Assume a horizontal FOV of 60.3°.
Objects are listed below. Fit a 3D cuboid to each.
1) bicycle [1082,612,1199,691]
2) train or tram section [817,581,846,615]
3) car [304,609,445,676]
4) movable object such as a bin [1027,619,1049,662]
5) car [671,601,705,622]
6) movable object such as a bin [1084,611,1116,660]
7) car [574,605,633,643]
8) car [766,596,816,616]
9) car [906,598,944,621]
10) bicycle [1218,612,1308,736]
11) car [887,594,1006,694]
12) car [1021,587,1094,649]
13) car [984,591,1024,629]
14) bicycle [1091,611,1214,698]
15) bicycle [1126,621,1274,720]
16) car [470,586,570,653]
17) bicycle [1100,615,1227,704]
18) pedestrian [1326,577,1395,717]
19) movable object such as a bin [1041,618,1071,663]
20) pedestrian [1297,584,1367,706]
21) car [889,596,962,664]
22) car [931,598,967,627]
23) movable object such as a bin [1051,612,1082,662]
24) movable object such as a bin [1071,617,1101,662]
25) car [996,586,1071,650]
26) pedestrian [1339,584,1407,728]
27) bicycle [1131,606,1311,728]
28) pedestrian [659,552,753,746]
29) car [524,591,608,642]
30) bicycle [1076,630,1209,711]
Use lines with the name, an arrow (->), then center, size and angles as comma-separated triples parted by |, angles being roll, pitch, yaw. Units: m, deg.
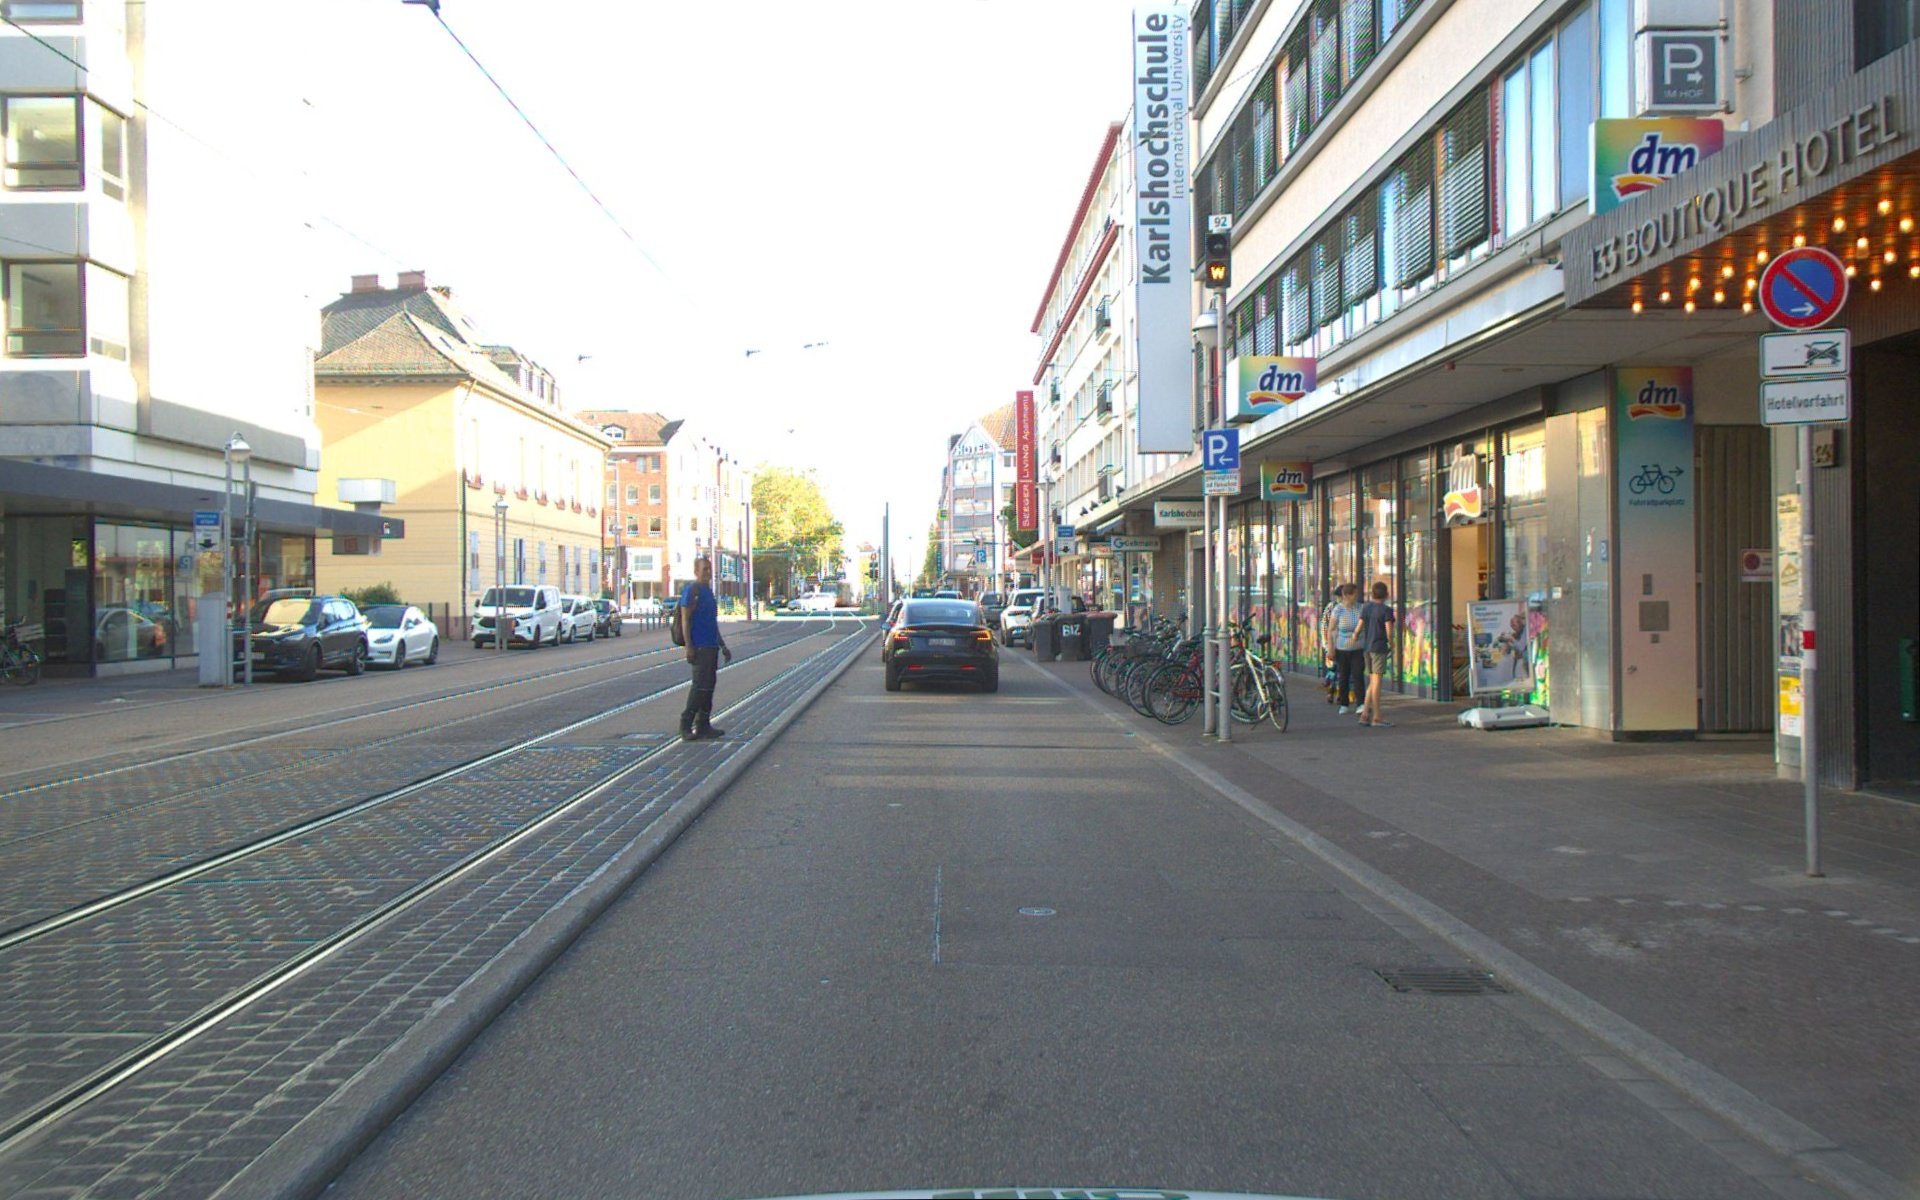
bicycle -> 2.858, 0.812, 26.263 | 1.751, 1.179, 0.669 | -2, 0, -2
train or tram section -> -15.359, -0.196, 198.501 | 2.620, 3.780, 14.189 | 1, 0, -1
car -> -13.797, 0.974, 39.288 | 1.850, 1.446, 4.654 | 1, 0, -3
movable object such as a bin -> 1.801, 0.936, 38.262 | 0.477, 0.975, 0.458 | -2, 0, 2
car -> -20.753, 0.879, 126.418 | 1.864, 1.489, 4.000 | 1, 0, 0
movable object such as a bin -> 3.234, 0.813, 38.152 | 0.676, 1.108, 0.666 | -2, 0, 2
car -> -13.978, 0.913, 65.006 | 1.582, 1.425, 3.718 | 1, 0, -2
car -> -14.647, 0.526, 143.316 | 3.934, 1.707, 1.985 | -1, 0, -24
car -> -2.507, 0.671, 116.831 | 1.793, 1.545, 4.202 | 1, 0, -14
bicycle -> 3.342, 0.793, 18.359 | 0.570, 1.279, 1.601 | -3, 0, -3
car -> -0.281, 0.681, 27.264 | 1.812, 1.510, 3.785 | 1, 0, -2
car -> 2.605, 0.474, 45.085 | 1.582, 1.555, 4.068 | -2, 0, -2
car -> 2.055, 0.460, 78.056 | 1.710, 1.660, 3.648 | -2, 0, -1
bicycle -> 2.901, 0.820, 25.057 | 1.751, 1.238, 0.669 | -2, 0, -2
bicycle -> 2.981, 0.864, 20.556 | 1.739, 1.150, 0.478 | -2, 0, -7
car -> -13.993, 0.611, 52.883 | 1.953, 2.010, 5.094 | 1, 0, -2
bicycle -> 2.977, 0.864, 24.240 | 1.751, 1.238, 0.587 | -2, 0, -2
pedestrian -> 4.764, 0.551, 19.699 | 0.570, 1.613, 0.597 | -3, 0, -3
movable object such as a bin -> 2.245, 0.947, 38.718 | 0.672, 1.032, 0.508 | -1, 0, 1
pedestrian -> 4.767, 0.577, 21.200 | 0.576, 1.512, 0.590 | -2, 0, -33
car -> -0.786, 0.661, 38.796 | 1.620, 1.443, 4.000 | 1, 1, -1
car -> -0.677, 0.708, 94.644 | 1.748, 1.545, 4.214 | 1, 0, -4
movable object such as a bin -> 2.443, 0.845, 38.026 | 0.676, 1.108, 0.686 | -2, 0, 2
movable object such as a bin -> 2.952, 0.914, 38.682 | 0.644, 1.032, 0.636 | -1, 0, 1
car -> 2.164, 0.525, 50.150 | 1.812, 1.754, 5.190 | -2, 0, -2
pedestrian -> 4.502, 0.600, 18.051 | 0.513, 1.519, 0.583 | -3, 0, -3
bicycle -> 3.116, 0.781, 19.768 | 2.000, 1.296, 0.523 | -4, 0, -12
pedestrian -> -2.542, 0.479, 16.624 | 0.788, 1.869, 0.746 | -2, 0, -3
car -> -14.103, 0.581, 59.467 | 1.770, 1.715, 4.649 | 1, 0, 1
bicycle -> 2.507, 0.968, 22.853 | 1.738, 1.050, 0.596 | -2, 0, -2
